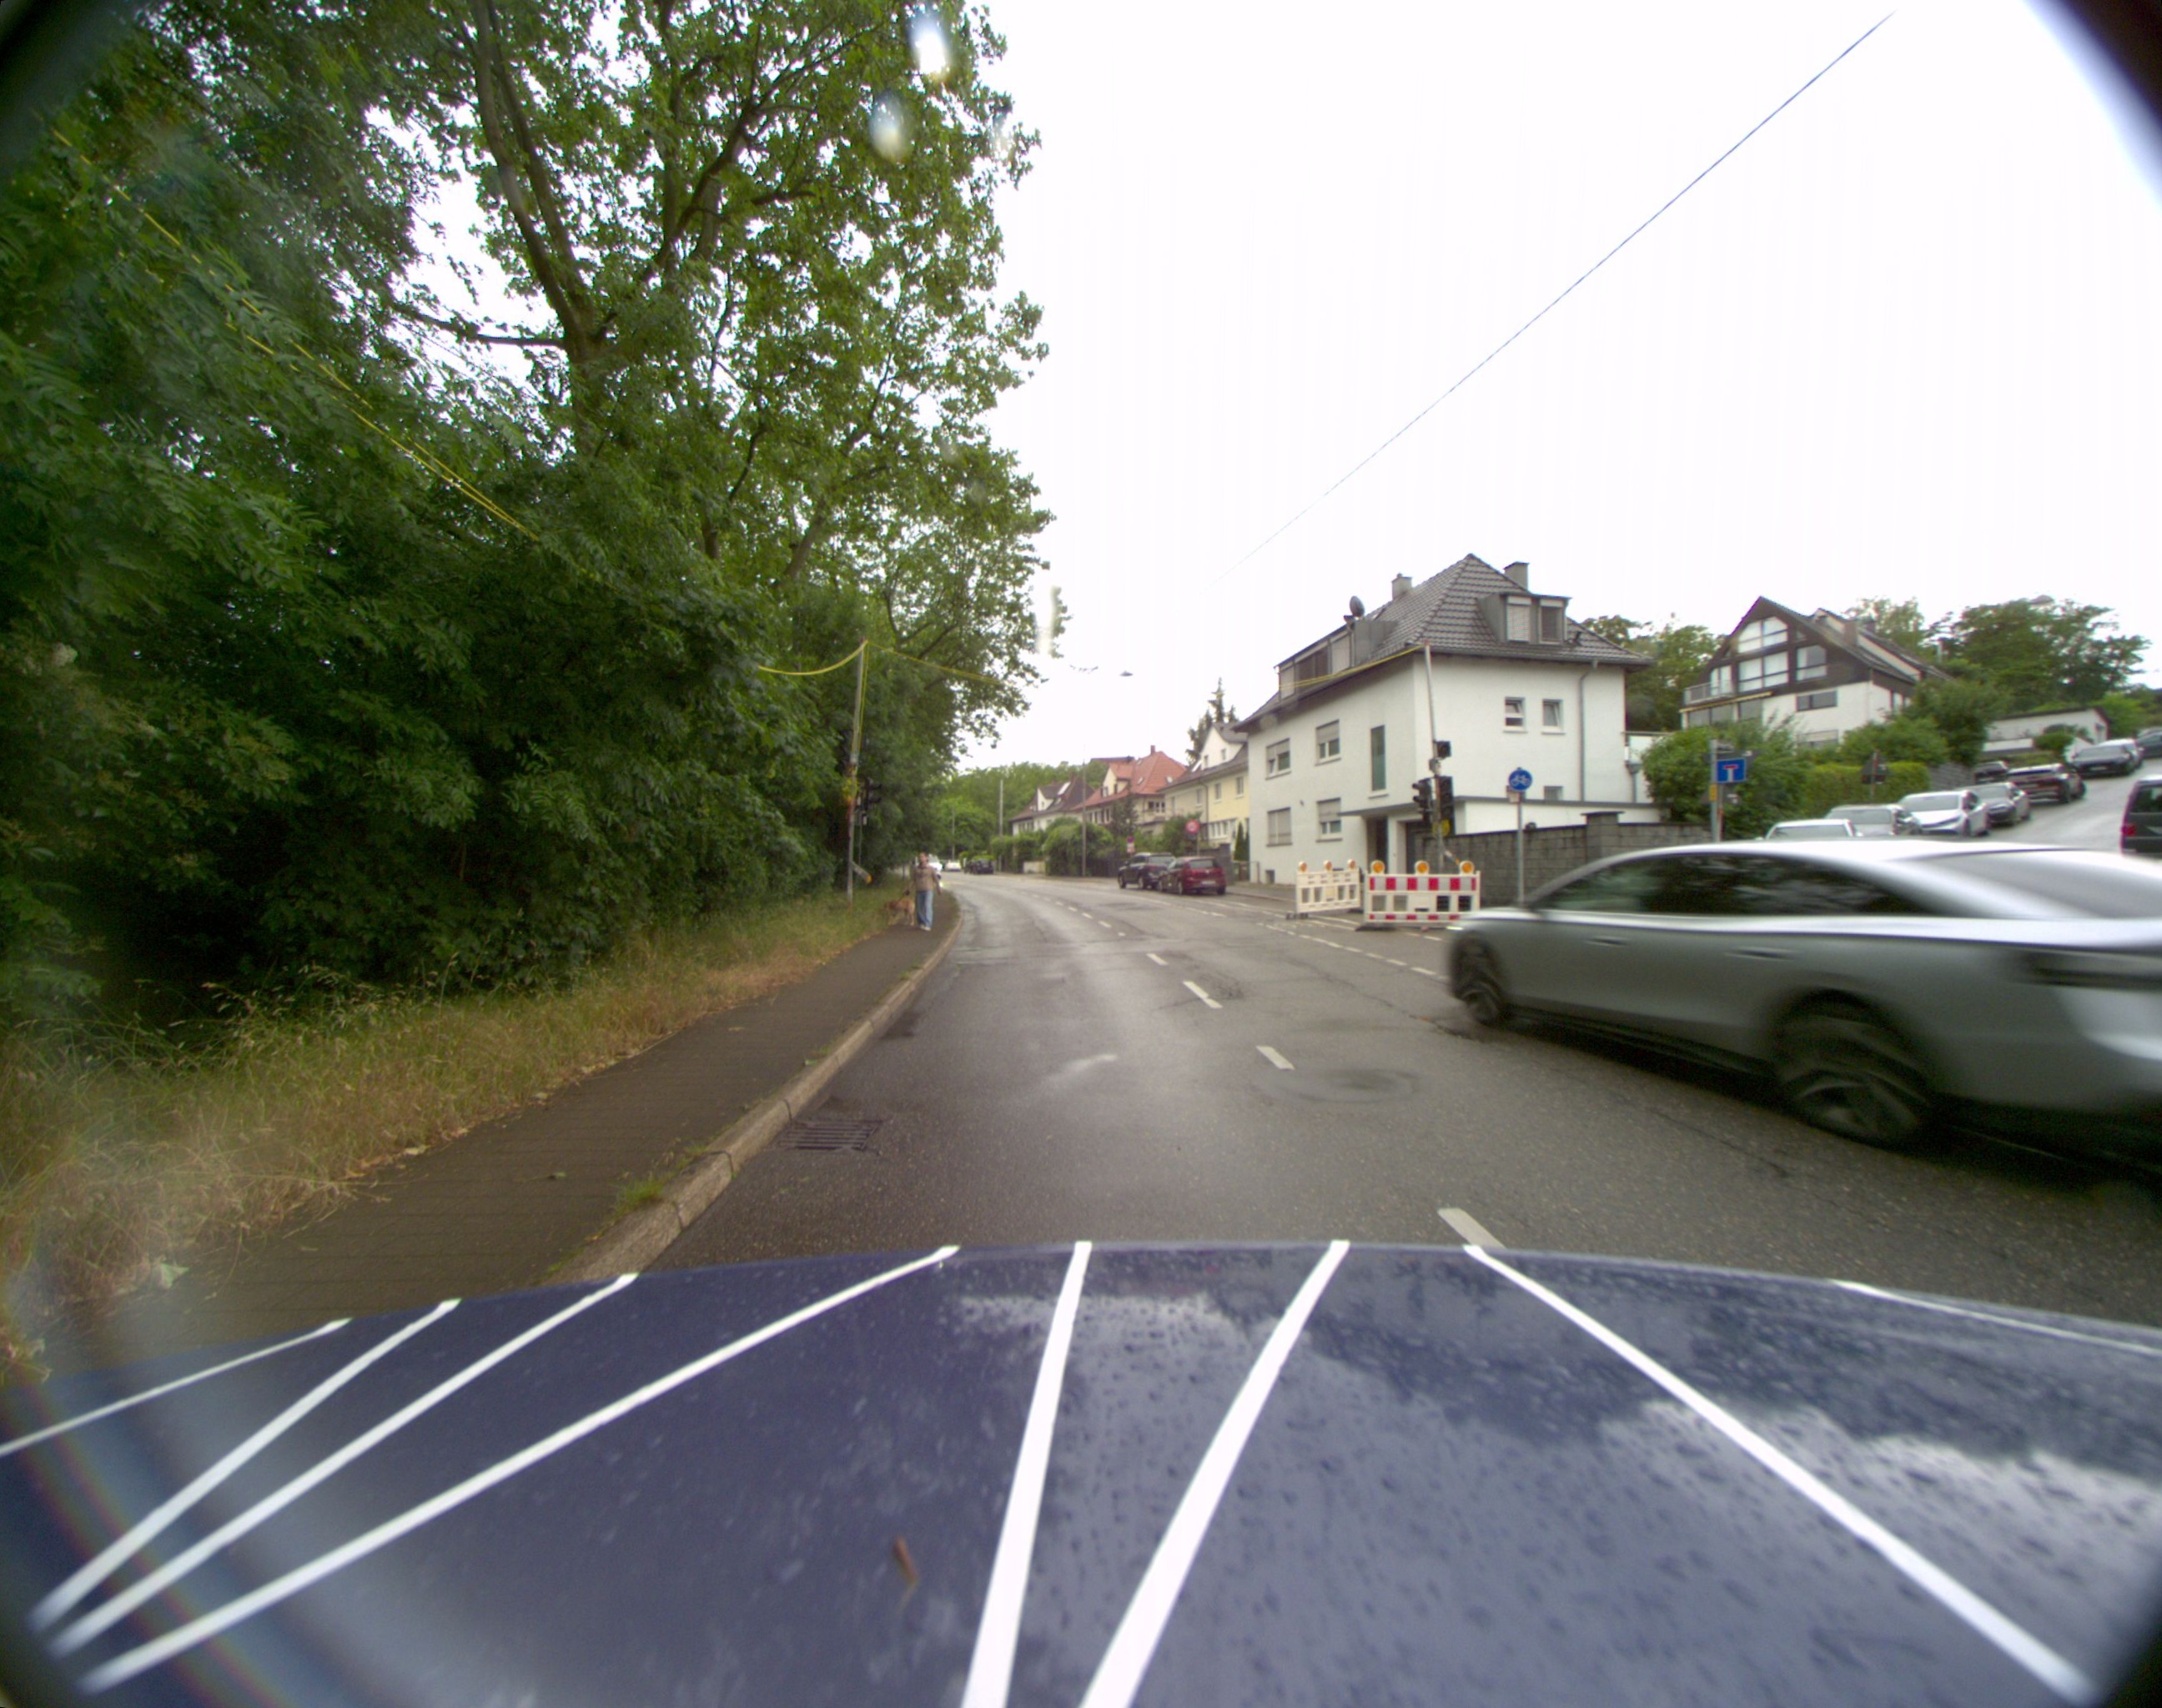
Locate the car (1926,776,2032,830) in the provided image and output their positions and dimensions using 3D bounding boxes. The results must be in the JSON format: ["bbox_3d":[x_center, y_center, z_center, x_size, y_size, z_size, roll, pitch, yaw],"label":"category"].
[{"bbox_3d":[32.330,-1.835,27.331,4.111,1.430,1.921,-9,4,-33],"label":"car"}]

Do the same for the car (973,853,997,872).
[{"bbox_3d":[-9.608,0.835,75.951,1.882,1.814,4.121,-2,0,-14],"label":"car"}]

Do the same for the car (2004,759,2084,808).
[{"bbox_3d":[40.722,-2.987,32.110,4.004,1.617,1.638,-8,4,-32],"label":"car"}]

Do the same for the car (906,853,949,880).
[{"bbox_3d":[-12.030,0.963,59.471,2.106,1.908,5.080,-2,0,-25],"label":"car"}]

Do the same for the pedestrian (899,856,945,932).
[{"bbox_3d":[-3.215,0.788,15.415,0.735,1.490,0.785,-1,1,-1],"label":"pedestrian"}]

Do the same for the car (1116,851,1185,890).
[{"bbox_3d":[3.132,0.728,35.030,1.798,1.630,4.150,-1,0,-15],"label":"car"}]

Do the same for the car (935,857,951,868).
[{"bbox_3d":[-18.743,1.122,103.007,1.691,1.419,3.770,-2,0,-17],"label":"car"}]

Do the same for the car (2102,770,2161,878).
[{"bbox_3d":[23.886,-0.753,16.259,4.497,2.003,1.996,-7,3,-31],"label":"car"}]

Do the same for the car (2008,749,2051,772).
[{"bbox_3d":[57.241,-5.644,45.864,3.656,1.205,1.577,-7,3,-38],"label":"car"}]

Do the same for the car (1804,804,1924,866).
[{"bbox_3d":[22.467,-0.560,21.756,3.910,1.380,1.719,-7,3,-34],"label":"car"}]

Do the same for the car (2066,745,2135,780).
[{"bbox_3d":[54.817,-4.885,40.839,4.034,1.511,1.786,-2,0,-31],"label":"car"}]

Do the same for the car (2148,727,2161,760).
[{"bbox_3d":[72.466,-7.454,48.981,2.003,2.000,3.993,-2,-4,-32],"label":"car"}]

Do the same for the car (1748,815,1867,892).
[{"bbox_3d":[17.780,-0.050,18.534,4.126,1.455,1.849,-7,4,-43],"label":"car"}]

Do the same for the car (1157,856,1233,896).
[{"bbox_3d":[4.385,0.815,29.902,1.787,1.423,3.844,-2,0,-10],"label":"car"}]

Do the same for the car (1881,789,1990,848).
[{"bbox_3d":[27.272,-1.155,24.229,3.951,1.462,1.755,-7,3,-33],"label":"car"}]

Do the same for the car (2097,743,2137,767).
[{"bbox_3d":[59.839,-5.748,43.896,2.988,1.191,1.305,-6,3,-35],"label":"car"}]

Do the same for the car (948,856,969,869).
[{"bbox_3d":[-15.235,1.063,94.172,2.071,1.477,4.556,-2,0,-16],"label":"car"}]

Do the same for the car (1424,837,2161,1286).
[{"bbox_3d":[4.467,0.699,4.999,1.858,1.518,4.817,-2,1,-5],"label":"car"}]

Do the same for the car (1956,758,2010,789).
[{"bbox_3d":[52.869,-4.655,44.515,4.020,1.545,1.812,-3,1,-37],"label":"car"}]

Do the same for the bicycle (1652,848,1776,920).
[{"bbox_3d":[11.591,0.535,13.932,2.006,1.233,0.510,-2,3,-8],"label":"bicycle"}]

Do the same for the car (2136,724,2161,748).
[{"bbox_3d":[81.120,-8.875,55.959,1.754,1.508,3.961,-3,1,-35],"label":"car"}]

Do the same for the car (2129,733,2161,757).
[{"bbox_3d":[68.326,-6.943,47.696,1.286,1.310,2.945,-3,1,-36],"label":"car"}]
